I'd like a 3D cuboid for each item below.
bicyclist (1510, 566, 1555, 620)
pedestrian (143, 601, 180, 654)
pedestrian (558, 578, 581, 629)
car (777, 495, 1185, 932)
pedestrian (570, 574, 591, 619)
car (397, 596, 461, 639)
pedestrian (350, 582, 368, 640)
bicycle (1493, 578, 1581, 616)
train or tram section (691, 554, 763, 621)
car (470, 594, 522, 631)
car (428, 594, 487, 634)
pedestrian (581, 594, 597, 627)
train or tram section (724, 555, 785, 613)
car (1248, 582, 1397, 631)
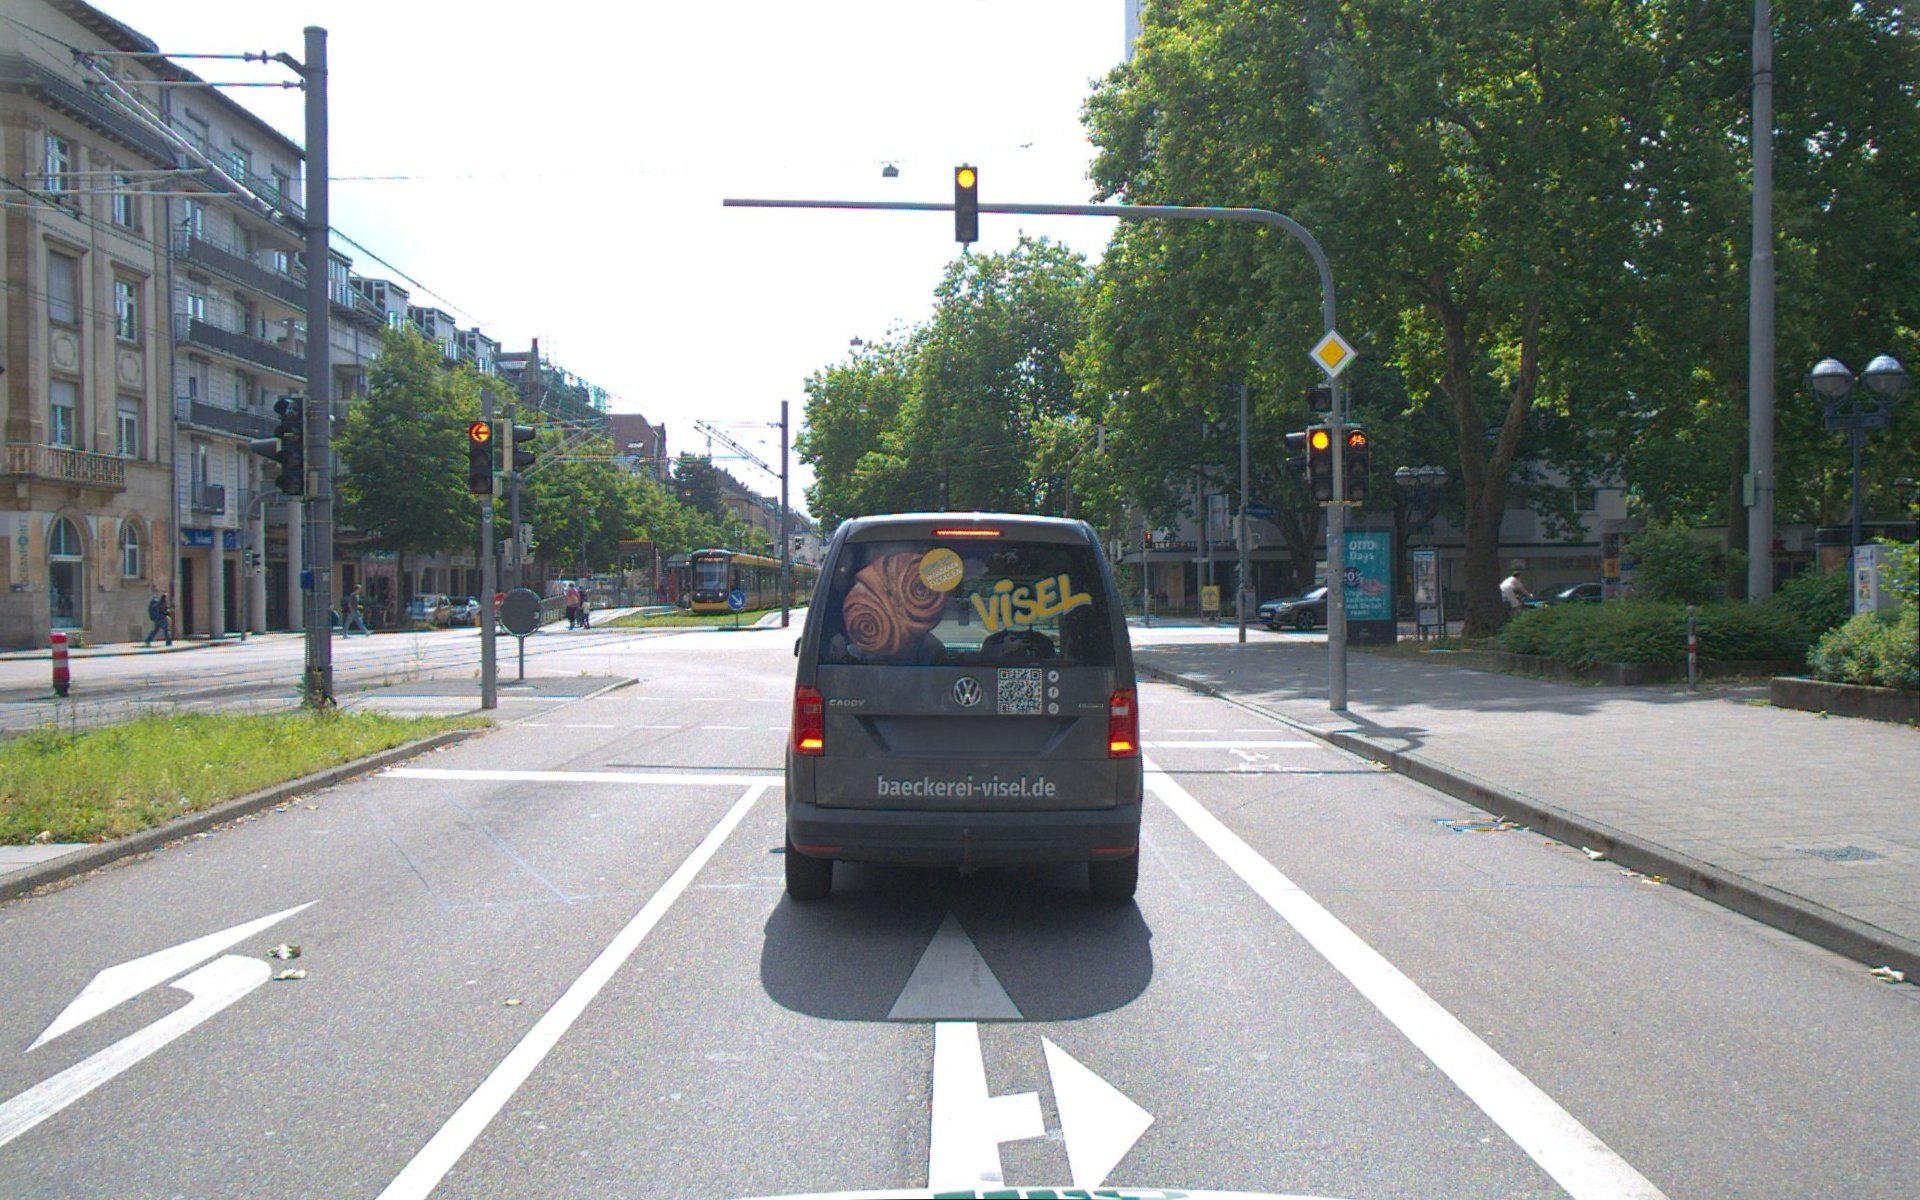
[{"bbox_3d":[16.666,-0.201,48.174,0.978,1.538,0.780,-1,0,-6],"label":"bicyclist"},{"bbox_3d":[-24.921,0.862,51.621,0.682,1.623,0.856,-1,0,43],"label":"pedestrian"},{"bbox_3d":[-14.057,0.135,59.546,0.646,1.815,0.660,-1,0,-1],"label":"pedestrian"},{"bbox_3d":[0.075,0.465,8.761,1.715,1.840,3.474,1,1,-1],"label":"car"},{"bbox_3d":[-14.658,-0.129,63.847,0.646,1.714,0.655,-1,0,-1],"label":"pedestrian"},{"bbox_3d":[-27.008,0.875,84.262,1.953,2.049,4.000,-1,0,-1],"label":"car"},{"bbox_3d":[-21.386,0.387,58.839,0.468,2.049,0.419,-1,0,-6],"label":"pedestrian"},{"bbox_3d":[16.806,-0.101,48.184,2.257,1.066,0.896,-1,1,-6],"label":"bicycle"},{"bbox_3d":[-12.733,-0.725,91.295,2.195,3.389,12.970,-1,1,-1],"label":"train or tram section"},{"bbox_3d":[-27.311,0.706,97.463,1.953,2.049,4.000,-1,0,-1],"label":"car"},{"bbox_3d":[-27.013,0.705,88.961,1.953,2.049,4.000,-1,0,-1],"label":"car"},{"bbox_3d":[-13.400,0.382,59.727,0.454,1.164,0.435,-1,0,-1],"label":"pedestrian"},{"bbox_3d":[-12.889,-0.994,104.824,2.195,3.389,14.012,-1,1,0],"label":"train or tram section"},{"bbox_3d":[11.240,0.180,51.269,4.423,1.414,1.693,-1,0,-25],"label":"car"}]
